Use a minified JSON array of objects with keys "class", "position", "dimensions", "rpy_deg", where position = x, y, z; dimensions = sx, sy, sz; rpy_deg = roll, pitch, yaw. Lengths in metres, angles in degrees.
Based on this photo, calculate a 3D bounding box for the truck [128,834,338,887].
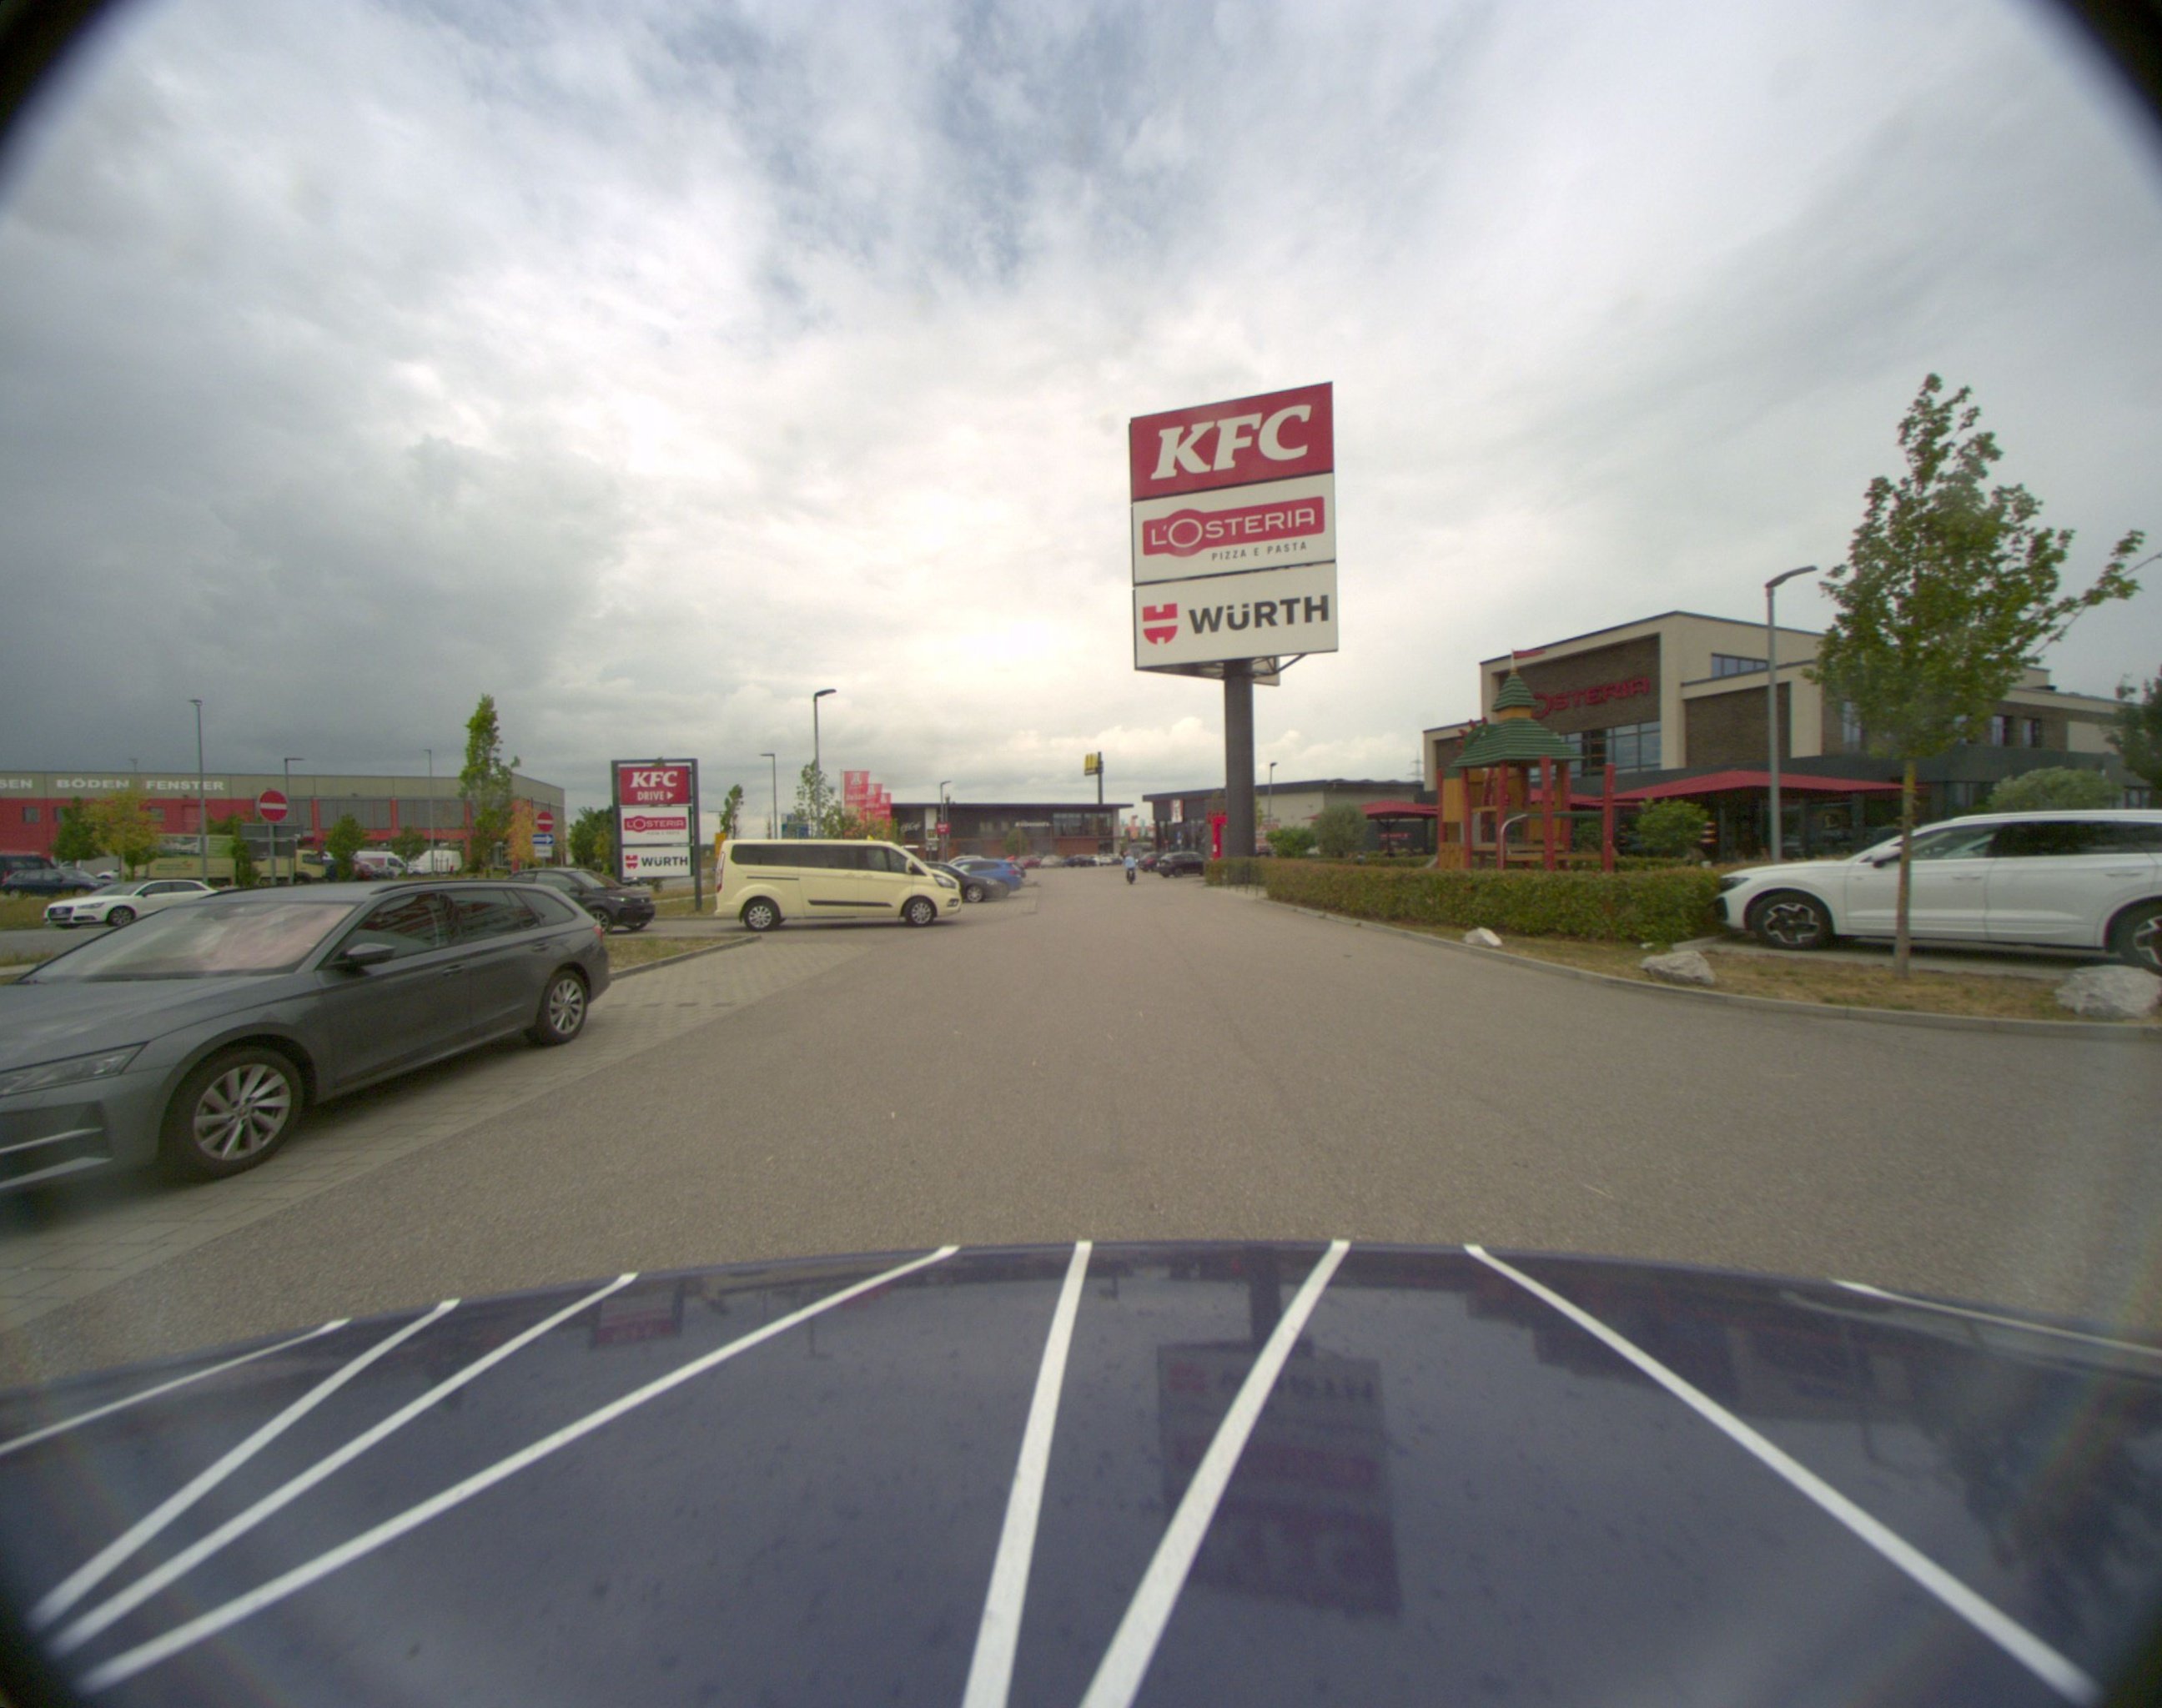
[{"class":"truck","position":[-51.977,0.288,46.996],"dimensions":[2.674,2.928,8.192],"rpy_deg":[-1,1,17]}]

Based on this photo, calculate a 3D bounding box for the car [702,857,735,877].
[{"class":"car","position":[-35.725,1.249,75.046],"dimensions":[1.908,1.803,3.996],"rpy_deg":[-2,0,-11]}]

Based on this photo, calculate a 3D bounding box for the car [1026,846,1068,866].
[{"class":"car","position":[-3.757,0.212,83.928],"dimensions":[3.990,2.002,2.003],"rpy_deg":[-2,1,27]}]

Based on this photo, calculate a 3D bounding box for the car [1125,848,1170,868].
[{"class":"car","position":[6.657,0.401,76.178],"dimensions":[4.002,1.827,1.997],"rpy_deg":[-2,1,-16]}]

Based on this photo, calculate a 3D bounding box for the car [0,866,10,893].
[{"class":"car","position":[-66.460,1.594,44.979],"dimensions":[1.765,1.644,3.828],"rpy_deg":[-2,1,-24]}]

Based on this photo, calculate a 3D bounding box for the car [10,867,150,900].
[{"class":"car","position":[-49.931,1.422,38.009],"dimensions":[3.846,1.420,1.739],"rpy_deg":[-2,1,-20]}]

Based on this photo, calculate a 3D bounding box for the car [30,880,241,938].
[{"class":"car","position":[-30.135,1.683,24.452],"dimensions":[1.757,1.472,4.054],"rpy_deg":[-2,1,-4]}]

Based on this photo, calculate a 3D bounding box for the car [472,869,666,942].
[{"class":"car","position":[-10.945,1.073,16.404],"dimensions":[3.123,1.439,1.506],"rpy_deg":[-1,1,-1]}]

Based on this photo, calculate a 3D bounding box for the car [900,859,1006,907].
[{"class":"car","position":[-4.560,1.014,27.445],"dimensions":[3.526,1.540,1.700],"rpy_deg":[-2,1,-3]}]

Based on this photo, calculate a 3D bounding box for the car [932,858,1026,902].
[{"class":"car","position":[-3.967,0.985,29.979],"dimensions":[3.441,1.534,1.684],"rpy_deg":[-2,1,-1]}]

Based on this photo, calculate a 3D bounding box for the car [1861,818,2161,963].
[{"class":"car","position":[13.259,0.407,9.879],"dimensions":[1.913,1.696,3.991],"rpy_deg":[-3,1,-30]}]

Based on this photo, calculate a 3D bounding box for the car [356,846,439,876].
[{"class":"car","position":[-54.646,0.537,60.838],"dimensions":[4.443,2.110,1.996],"rpy_deg":[-2,1,-22]}]

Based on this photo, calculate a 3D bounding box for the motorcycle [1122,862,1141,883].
[{"class":"motorcycle","position":[2.648,0.962,40.042],"dimensions":[0.816,1.069,2.149],"rpy_deg":[-1,0,-2]}]

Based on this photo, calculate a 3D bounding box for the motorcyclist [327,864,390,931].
[{"class":"motorcyclist","position":[-14.791,0.877,15.565],"dimensions":[0.673,1.308,0.575],"rpy_deg":[-2,1,-5]}]

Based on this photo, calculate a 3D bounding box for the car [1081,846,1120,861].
[{"class":"car","position":[2.264,-0.076,89.242],"dimensions":[3.990,1.652,2.003],"rpy_deg":[-2,1,28]}]

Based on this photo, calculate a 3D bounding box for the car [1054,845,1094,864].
[{"class":"car","position":[-0.803,0.075,86.101],"dimensions":[3.990,2.002,2.003],"rpy_deg":[-2,1,27]}]

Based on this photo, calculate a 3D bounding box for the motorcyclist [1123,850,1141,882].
[{"class":"motorcyclist","position":[2.685,0.611,40.050],"dimensions":[0.754,1.629,1.038],"rpy_deg":[-2,1,-2]}]

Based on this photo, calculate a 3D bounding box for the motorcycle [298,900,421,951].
[{"class":"motorcycle","position":[-14.768,1.458,15.579],"dimensions":[1.868,0.911,0.556],"rpy_deg":[-2,1,-5]}]

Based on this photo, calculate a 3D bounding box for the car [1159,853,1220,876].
[{"class":"car","position":[6.793,0.621,47.728],"dimensions":[3.446,1.288,1.497],"rpy_deg":[-2,1,-20]}]

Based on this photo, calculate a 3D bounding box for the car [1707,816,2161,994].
[{"class":"car","position":[10.660,0.483,8.962],"dimensions":[1.761,1.738,4.731],"rpy_deg":[-2,1,-30]}]

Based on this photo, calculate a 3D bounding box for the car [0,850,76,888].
[{"class":"car","position":[-63.814,0.865,45.763],"dimensions":[2.028,2.193,4.340],"rpy_deg":[-2,2,-24]}]

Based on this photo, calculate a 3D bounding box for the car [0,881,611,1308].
[{"class":"car","position":[-5.258,1.049,4.975],"dimensions":[1.752,1.482,4.485],"rpy_deg":[-2,1,-4]}]

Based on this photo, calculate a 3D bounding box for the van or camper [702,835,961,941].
[{"class":"van or camper","position":[-5.492,0.683,17.243],"dimensions":[5.237,2.049,1.857],"rpy_deg":[-2,1,-15]}]

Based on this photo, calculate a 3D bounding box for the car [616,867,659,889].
[{"class":"car","position":[-34.843,1.848,59.775],"dimensions":[1.759,1.472,4.527],"rpy_deg":[-2,1,-15]}]
